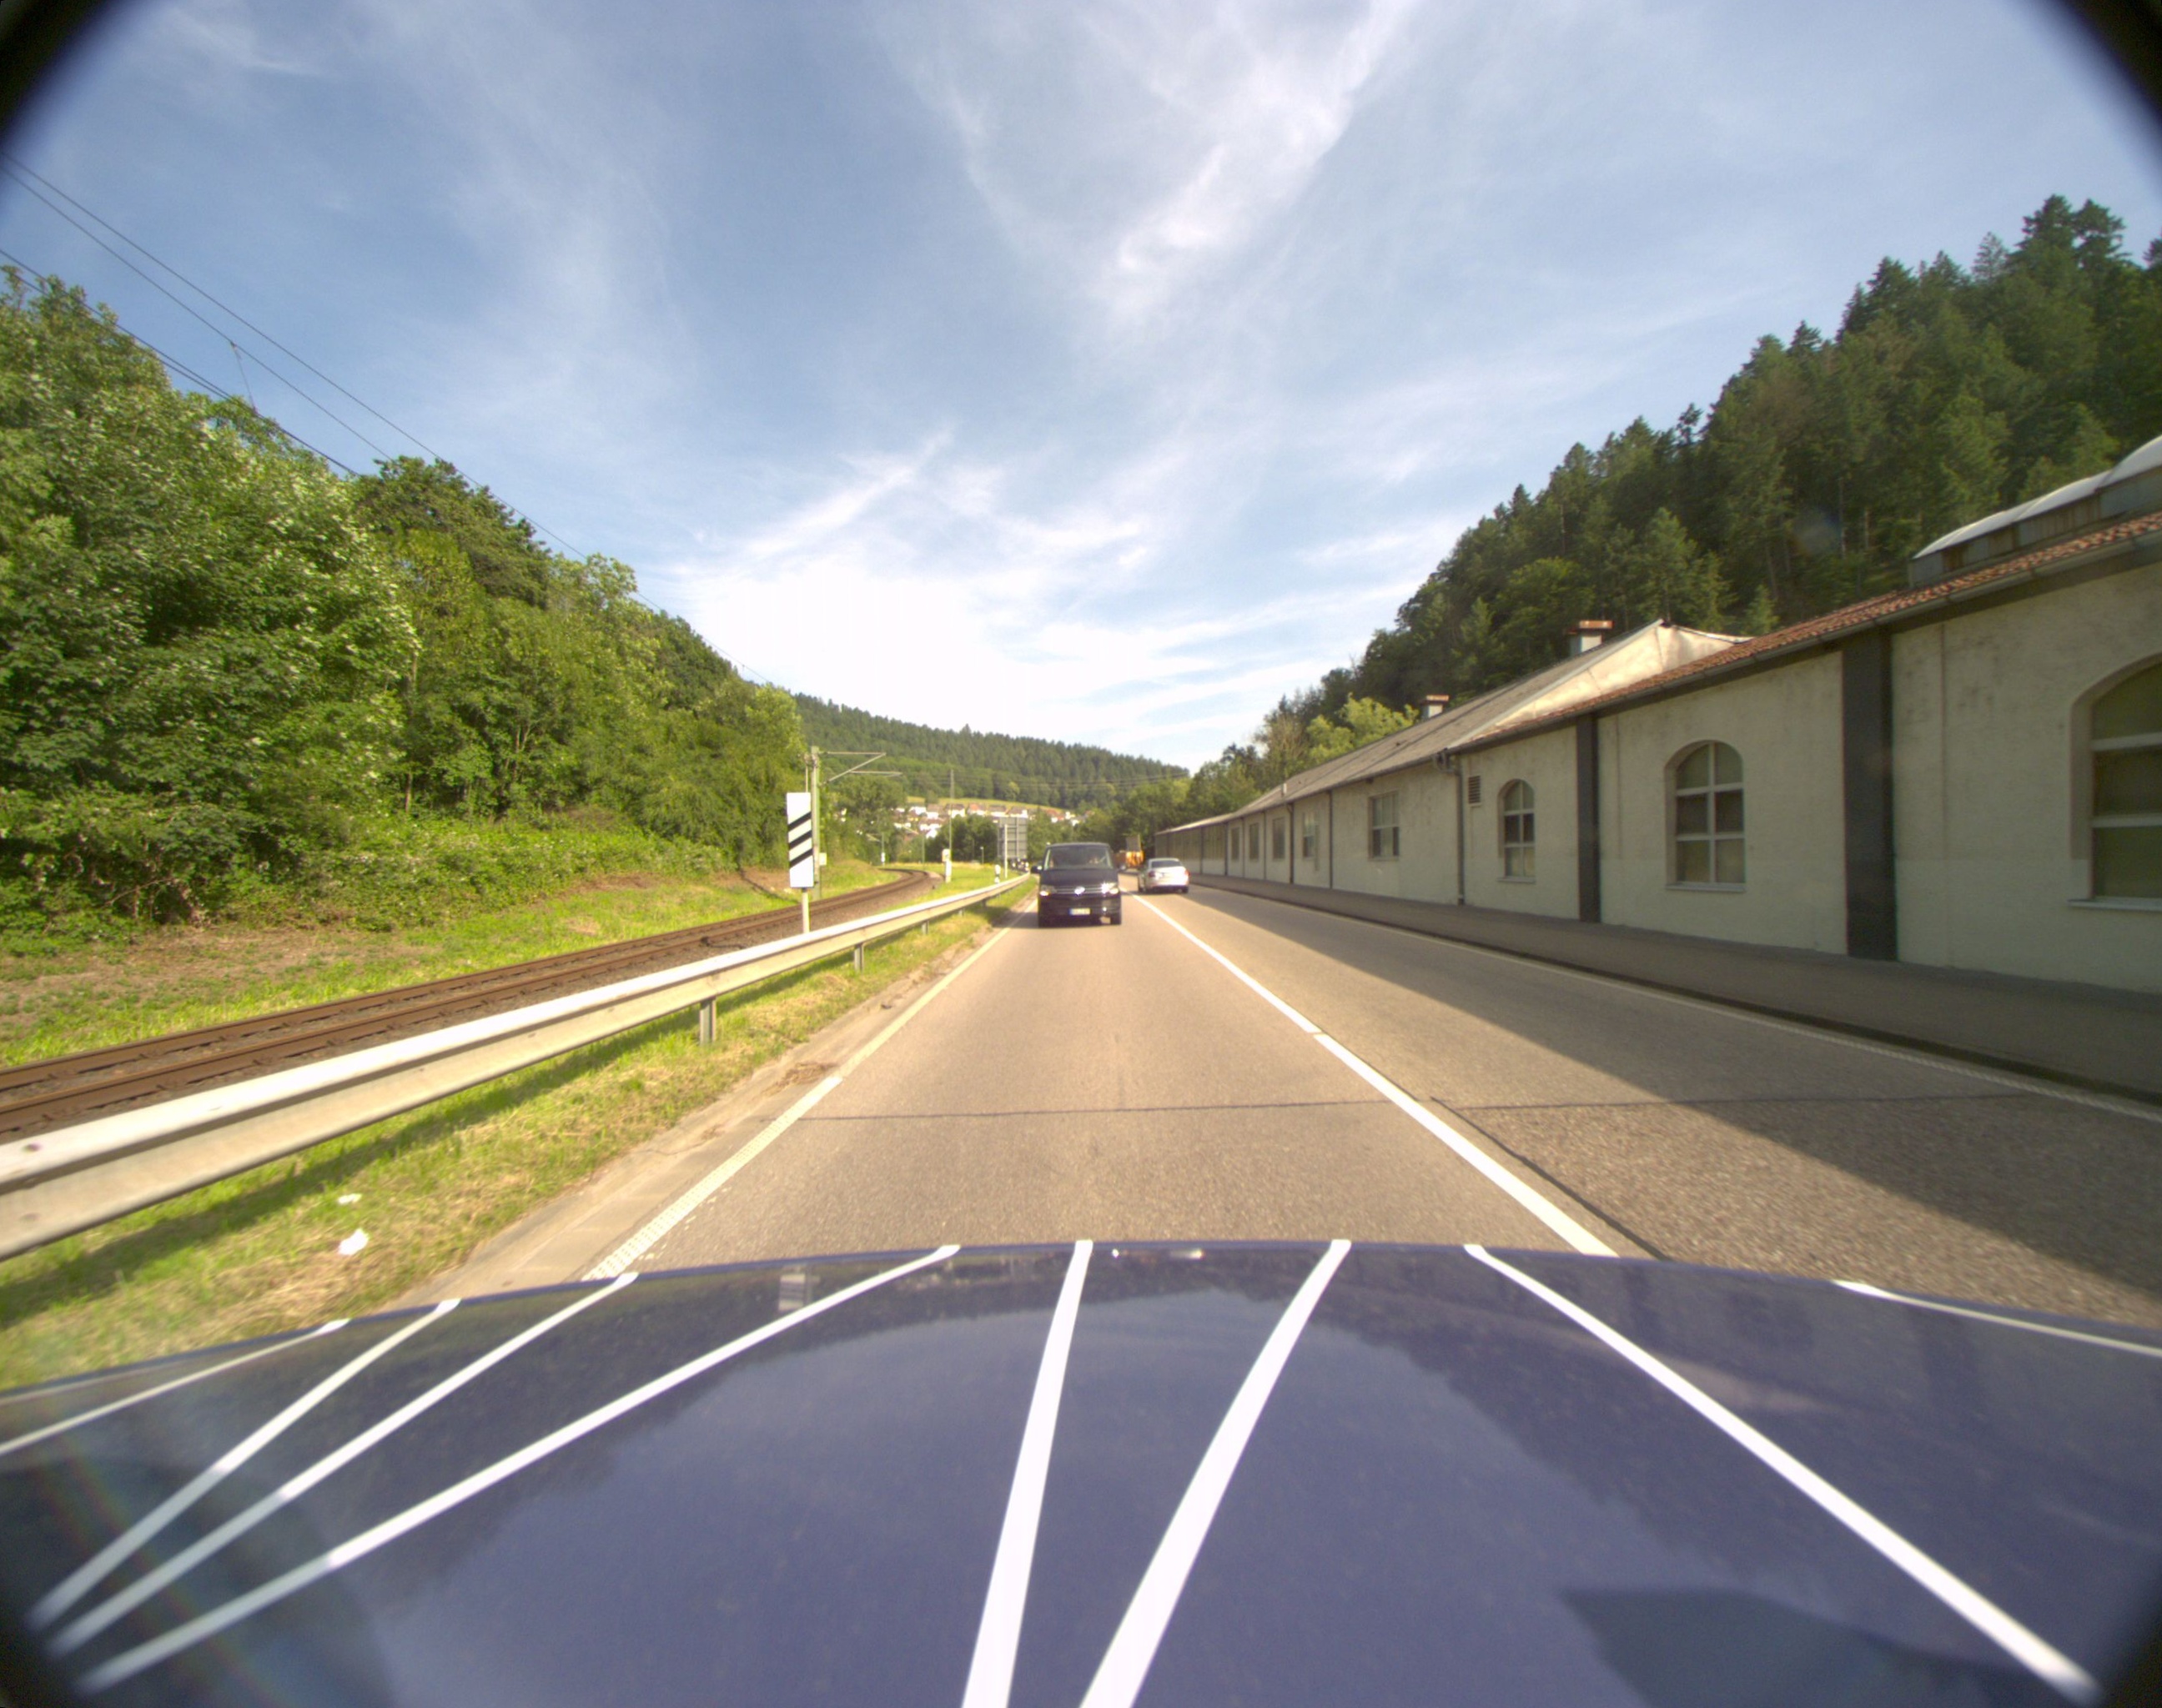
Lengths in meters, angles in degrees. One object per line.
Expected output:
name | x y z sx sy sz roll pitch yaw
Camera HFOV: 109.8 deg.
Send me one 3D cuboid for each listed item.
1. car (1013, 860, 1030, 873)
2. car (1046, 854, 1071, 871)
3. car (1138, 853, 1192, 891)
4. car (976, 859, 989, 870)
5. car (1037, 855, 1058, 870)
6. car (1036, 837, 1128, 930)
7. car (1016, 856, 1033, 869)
car | -10.062 2.040 128.111 2.001 2.002 3.994 -3 1 -16
car | -2.234 0.839 75.840 1.874 1.583 4.049 -2 -1 -10
car | 3.445 0.716 31.896 1.744 1.384 4.109 -3 0 0
car | -20.231 2.155 156.131 2.001 2.002 3.994 -3 1 -16
car | -3.865 0.961 87.166 1.874 1.583 4.049 -2 -1 -10
car | -0.037 0.631 18.940 1.901 1.927 5.188 -2 0 -1
car | -7.654 1.145 102.651 1.874 1.583 4.048 -3 0 -10
